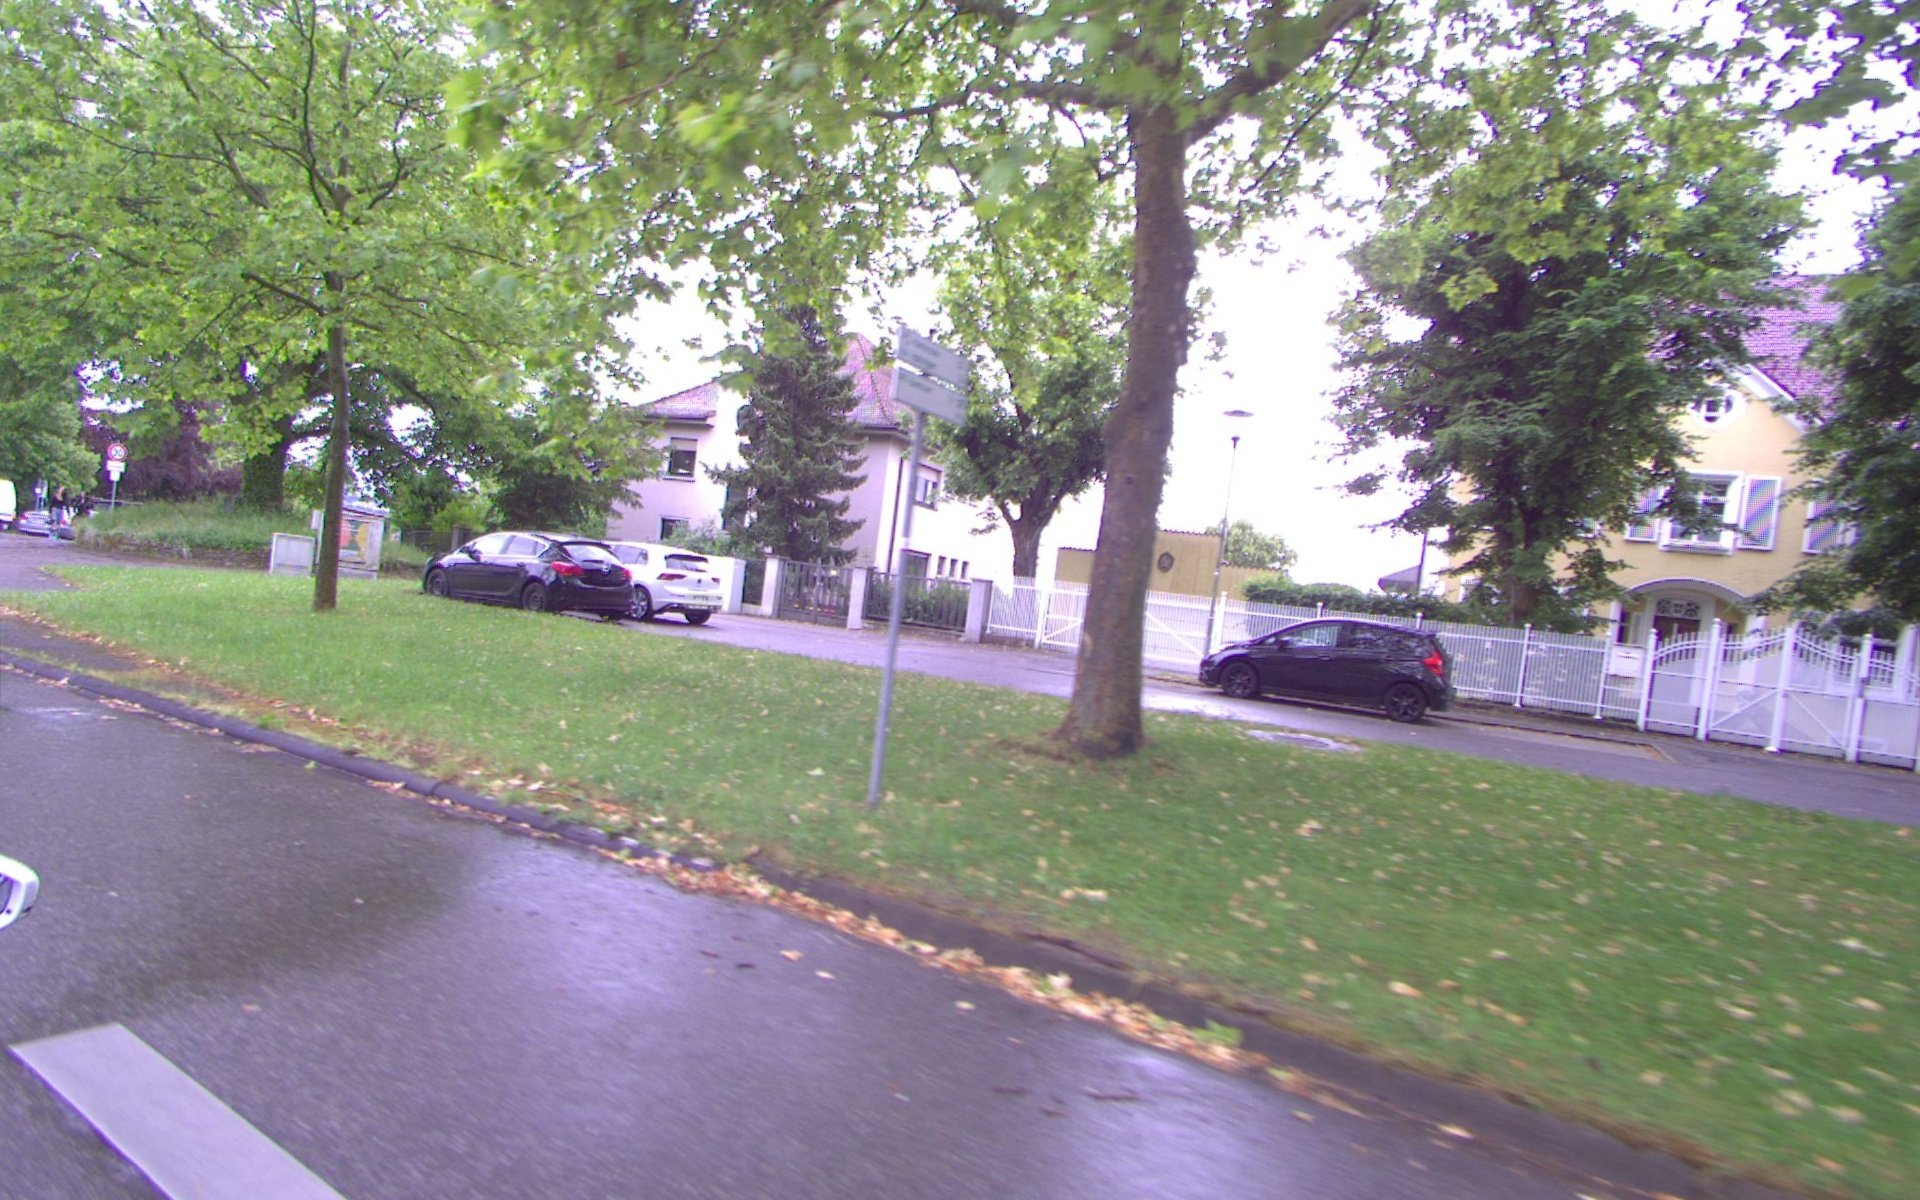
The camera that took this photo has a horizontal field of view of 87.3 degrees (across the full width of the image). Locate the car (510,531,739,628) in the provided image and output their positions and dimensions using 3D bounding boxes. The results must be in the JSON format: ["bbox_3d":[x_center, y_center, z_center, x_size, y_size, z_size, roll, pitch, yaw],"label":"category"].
[{"bbox_3d":[-6.779,-0.424,20.250,4.350,1.490,1.847,6,1,29],"label":"car"}]

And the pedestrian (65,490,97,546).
[{"bbox_3d":[-29.015,-2.712,33.213,0.632,1.733,0.523,7,-1,-43],"label":"pedestrian"}]

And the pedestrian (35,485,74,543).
[{"bbox_3d":[-29.023,-2.739,32.234,0.624,1.733,0.530,7,-1,17],"label":"pedestrian"}]

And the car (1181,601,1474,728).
[{"bbox_3d":[6.101,1.052,16.823,4.280,1.488,1.766,6,-2,27],"label":"car"}]

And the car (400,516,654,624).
[{"bbox_3d":[-7.791,-0.552,17.993,4.520,1.490,1.765,6,2,30],"label":"car"}]

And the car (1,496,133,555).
[{"bbox_3d":[-34.711,-2.825,39.258,1.968,1.703,4.025,7,-2,-12],"label":"car"}]

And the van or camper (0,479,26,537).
[{"bbox_3d":[-43.037,-4.262,42.176,2.160,2.405,5.673,7,-2,2],"label":"van or camper"}]
